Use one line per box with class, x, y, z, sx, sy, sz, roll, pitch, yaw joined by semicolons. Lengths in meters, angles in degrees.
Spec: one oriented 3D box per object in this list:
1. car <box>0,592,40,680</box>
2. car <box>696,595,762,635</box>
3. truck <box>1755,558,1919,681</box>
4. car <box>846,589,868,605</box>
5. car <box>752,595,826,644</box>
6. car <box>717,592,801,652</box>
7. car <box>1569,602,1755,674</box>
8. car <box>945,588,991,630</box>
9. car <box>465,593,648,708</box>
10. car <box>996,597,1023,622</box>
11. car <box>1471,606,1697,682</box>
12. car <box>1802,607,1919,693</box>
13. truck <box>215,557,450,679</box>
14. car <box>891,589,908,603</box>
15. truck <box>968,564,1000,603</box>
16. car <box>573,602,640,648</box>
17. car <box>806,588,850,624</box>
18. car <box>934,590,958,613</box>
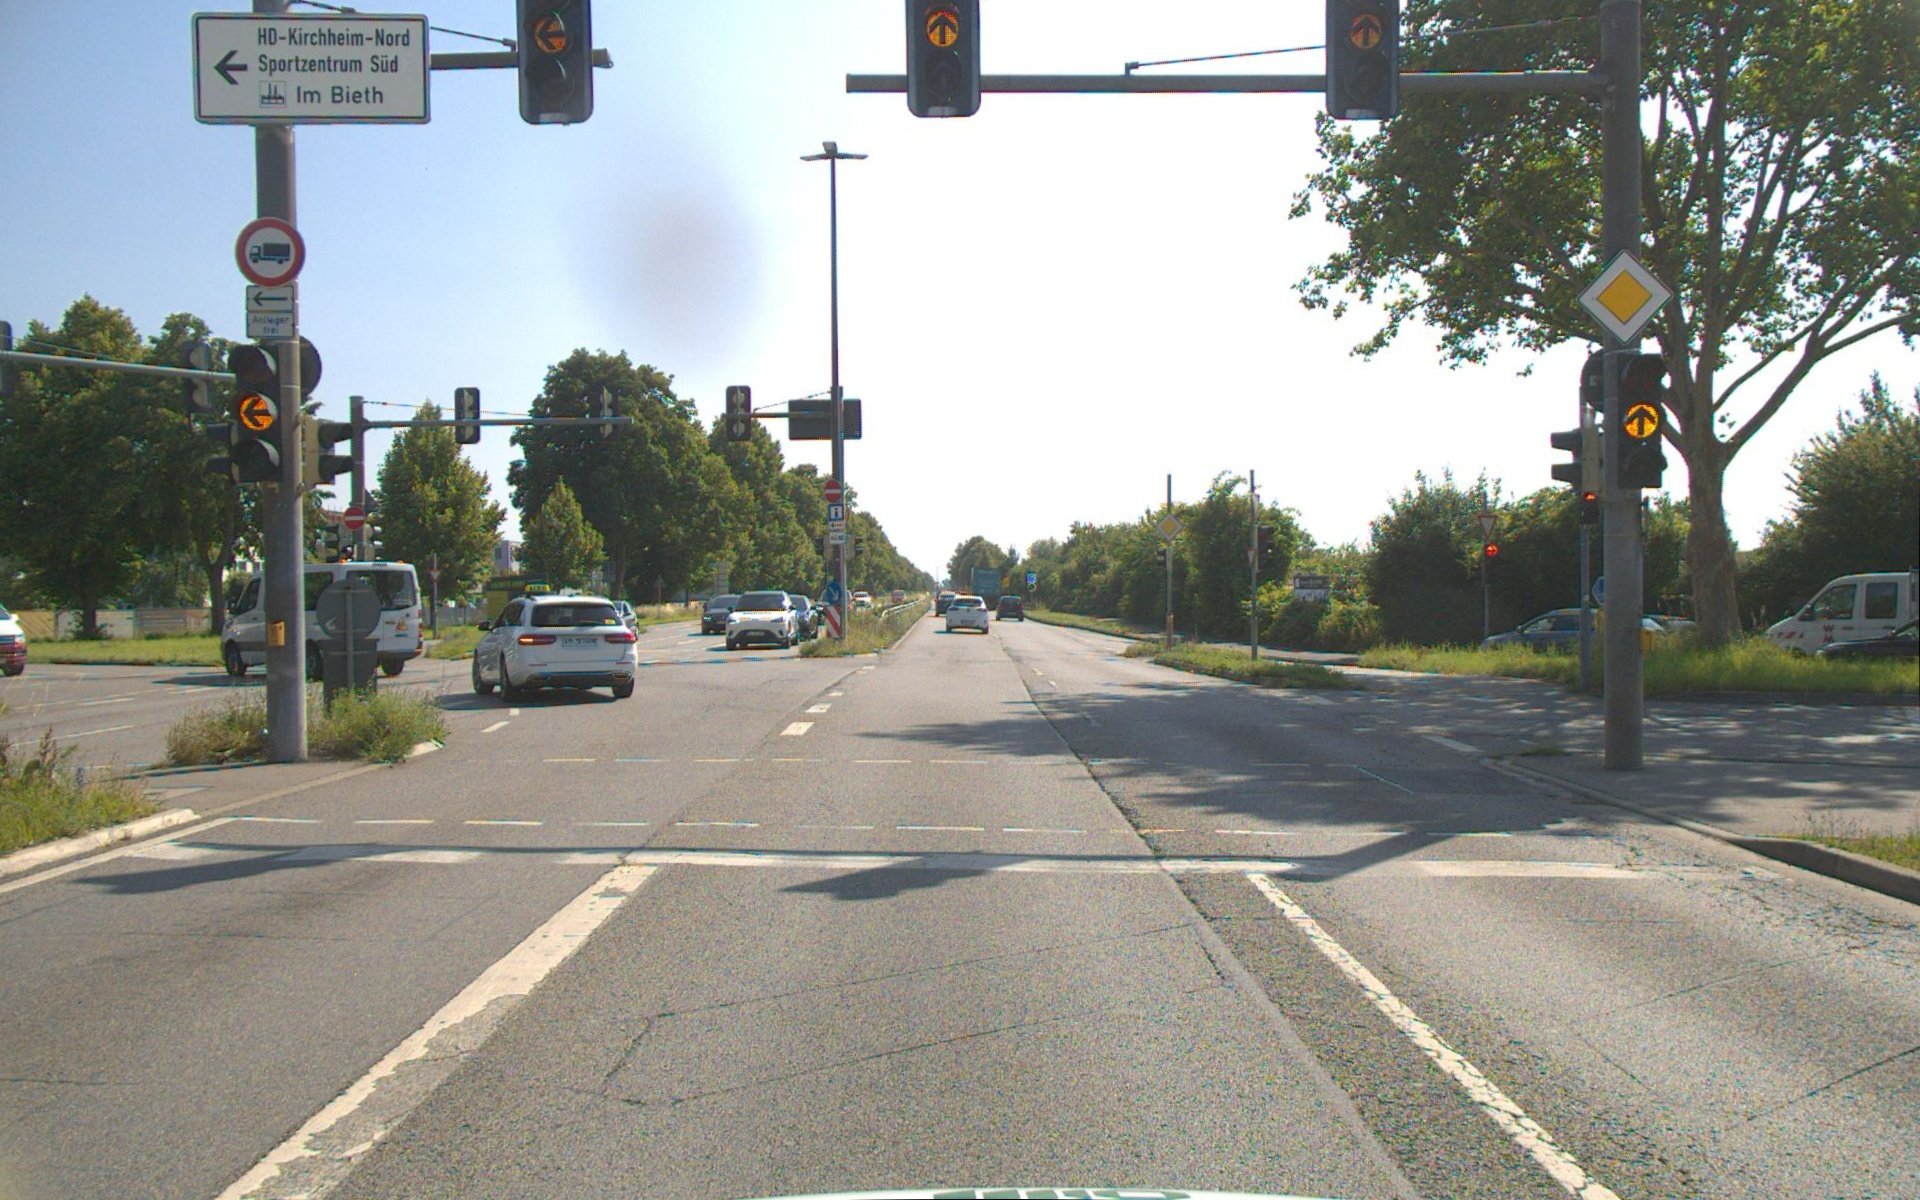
car;-23.646;0.848;38.635;4.560;1.984;1.993;-1;0;35
car;-8.952;0.564;64.463;1.890;1.462;4.268;-1;1;1
truck;19.779;0.428;33.486;2.316;2.428;6.401;3;-2;-33
car;-9.859;-0.284;157.879;1.953;1.528;4.090;0;0;-2
car;-5.643;0.610;55.082;1.779;1.511;4.895;-1;0;2
car;-5.813;0.617;48.224;1.969;1.638;4.210;-1;0;-1
car;16.266;0.860;38.469;1.599;1.574;3.786;2;-1;-30
car;0.323;0.340;66.059;1.762;1.580;4.000;1;1;0
car;-6.133;0.696;24.728;1.789;1.490;4.932;-1;0;-24
car;2.970;0.572;99.316;1.540;1.439;3.277;1;-1;0
car;13.885;0.935;37.084;1.973;1.574;4.570;0;0;-30
car;18.209;0.919;30.510;1.976;1.555;4.416;1;-1;-34
truck;-13.607;0.333;35.653;5.935;2.430;2.366;0;1;43
car;-6.868;-0.439;188.166;1.873;1.528;4.090;0;0;-2
truck;2.173;-1.528;152.842;2.832;3.488;9.168;0;0;0
car;-12.193;0.847;57.164;1.455;1.439;3.762;-3;0;0
car;-6.182;0.280;77.827;1.809;1.622;4.616;-1;0;-1
car;-0.897;0.103;107.331;1.540;1.439;3.277;0;0;0
